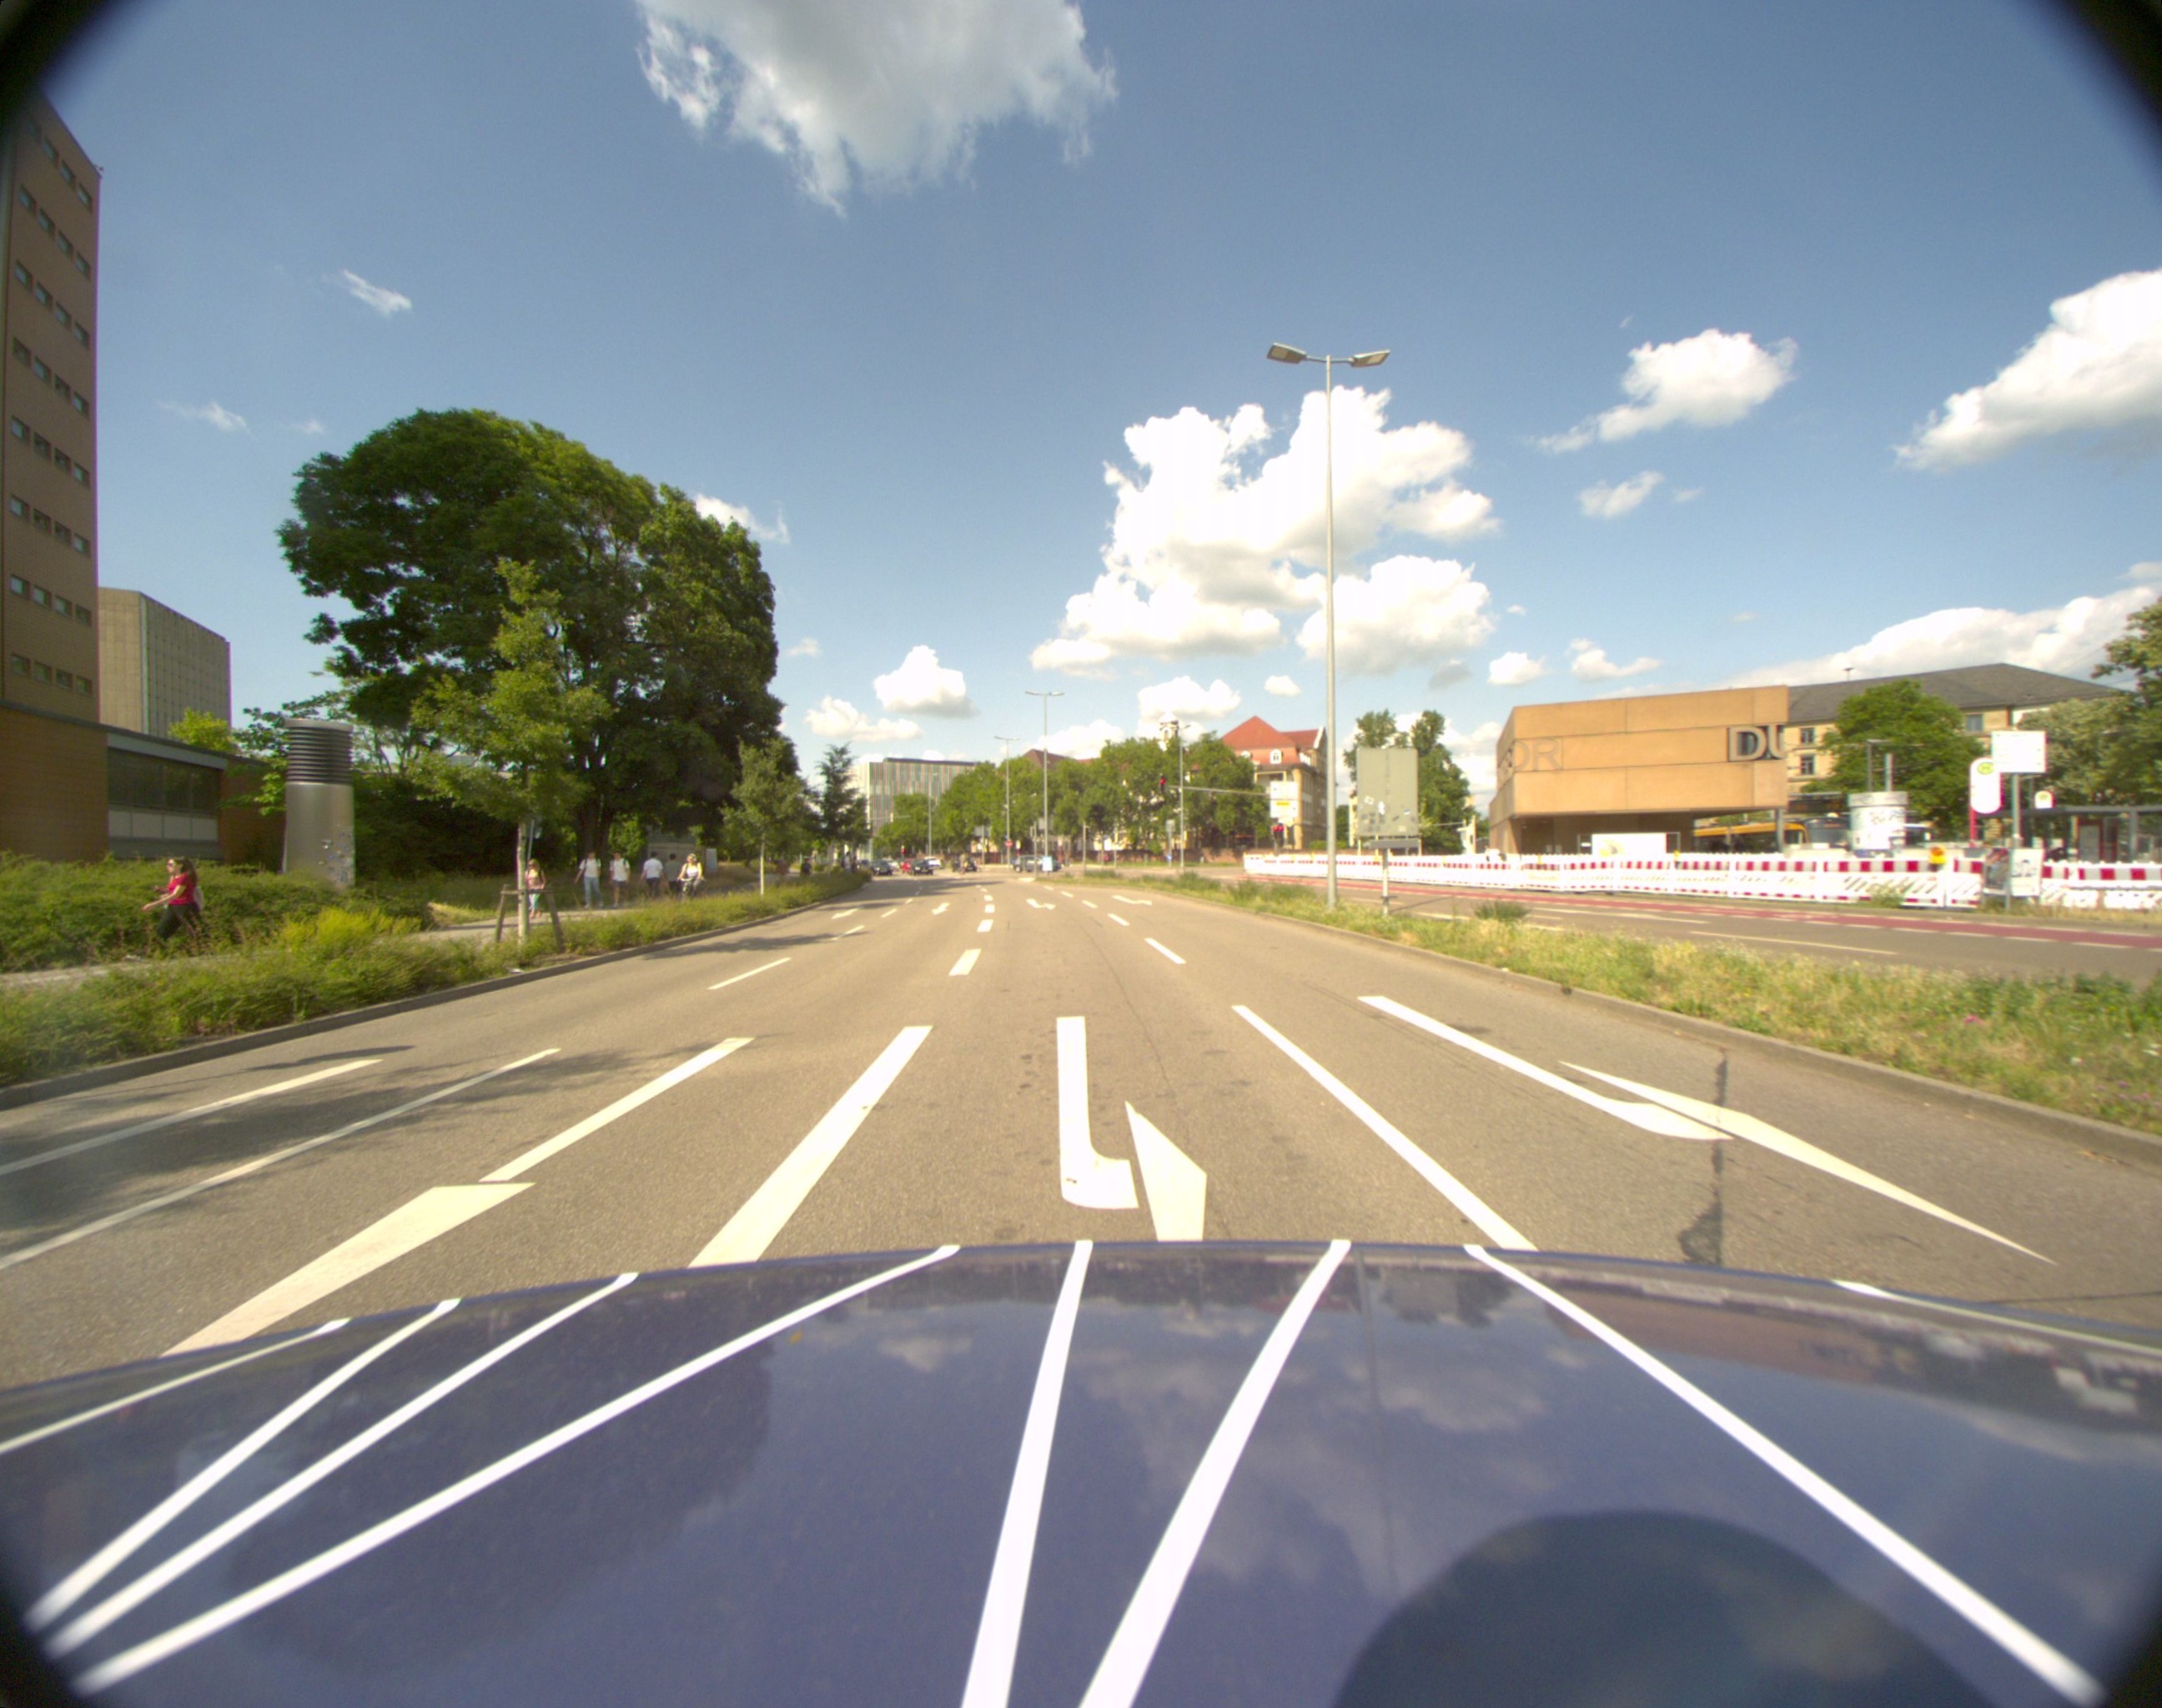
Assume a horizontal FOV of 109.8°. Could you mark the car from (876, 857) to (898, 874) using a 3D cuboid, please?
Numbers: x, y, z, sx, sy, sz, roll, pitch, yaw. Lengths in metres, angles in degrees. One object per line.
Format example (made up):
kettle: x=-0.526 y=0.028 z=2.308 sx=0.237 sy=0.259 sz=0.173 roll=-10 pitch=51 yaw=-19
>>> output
car: x=-17.838 y=1.034 z=70.109 sx=1.827 sy=1.454 sz=3.995 roll=-2 pitch=0 yaw=-13

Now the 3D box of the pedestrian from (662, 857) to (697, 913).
pedestrian: x=-12.926 y=0.990 z=24.478 sx=0.745 sy=1.744 sz=0.888 roll=1 pitch=1 yaw=-11

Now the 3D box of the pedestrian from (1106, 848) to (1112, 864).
pedestrian: x=3.054 y=0.185 z=83.420 sx=0.368 sy=1.722 sz=0.451 roll=-1 pitch=2 yaw=41

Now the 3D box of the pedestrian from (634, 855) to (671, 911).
pedestrian: x=-13.736 y=0.909 z=24.366 sx=0.745 sy=1.736 sz=0.888 roll=1 pitch=1 yaw=-11

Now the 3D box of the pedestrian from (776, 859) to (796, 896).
pedestrian: x=-14.478 y=1.143 z=37.287 sx=0.768 sy=1.725 sz=0.718 roll=-3 pitch=1 yaw=-14

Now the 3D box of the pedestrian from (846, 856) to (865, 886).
pedestrian: x=-13.459 y=1.023 z=45.356 sx=0.928 sy=1.725 sz=0.768 roll=-3 pitch=1 yaw=-8

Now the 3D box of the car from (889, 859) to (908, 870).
car: x=-20.966 y=1.171 z=87.110 sx=1.911 sy=1.127 sz=4.096 roll=-2 pitch=1 yaw=-17

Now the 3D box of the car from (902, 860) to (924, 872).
car: x=-16.810 y=1.219 z=75.845 sx=1.600 sy=1.127 sz=3.622 roll=-1 pitch=0 yaw=-22

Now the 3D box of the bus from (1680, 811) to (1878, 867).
bus: x=48.670 y=-0.964 z=54.589 sx=3.468 sy=3.165 sz=23.818 roll=-1 pitch=0 yaw=25

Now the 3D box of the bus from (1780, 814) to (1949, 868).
bus: x=60.533 y=-0.892 z=59.698 sx=3.599 sy=3.610 sz=18.906 roll=-1 pitch=0 yaw=28

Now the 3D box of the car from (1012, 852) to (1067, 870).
car: x=-3.553 y=0.610 z=64.766 sx=4.258 sy=1.368 sz=2.004 roll=-2 pitch=1 yaw=32

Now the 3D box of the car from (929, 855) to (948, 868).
car: x=-16.617 y=0.840 z=88.502 sx=1.780 sy=1.346 sz=3.994 roll=-2 pitch=1 yaw=-15

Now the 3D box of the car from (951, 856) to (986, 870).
car: x=-10.933 y=0.867 z=73.651 sx=1.737 sy=1.327 sz=3.779 roll=-3 pitch=1 yaw=-37

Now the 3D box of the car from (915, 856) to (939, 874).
car: x=-13.604 y=0.941 z=66.904 sx=1.828 sy=1.454 sz=3.995 roll=-2 pitch=0 yaw=-15

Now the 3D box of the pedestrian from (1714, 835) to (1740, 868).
pedestrian: x=33.249 y=-0.130 z=39.110 sx=0.653 sy=1.622 sz=0.765 roll=-1 pitch=1 yaw=-16

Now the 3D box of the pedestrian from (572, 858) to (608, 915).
pedestrian: x=-14.935 y=0.979 z=23.120 sx=0.616 sy=1.690 sz=0.888 roll=1 pitch=1 yaw=-11

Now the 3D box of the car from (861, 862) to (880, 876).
car: x=-23.188 y=1.656 z=83.708 sx=1.828 sy=1.454 sz=3.995 roll=-2 pitch=0 yaw=-14

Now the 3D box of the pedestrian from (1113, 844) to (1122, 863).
pedestrian: x=3.924 y=-0.032 z=81.891 sx=0.582 sy=1.982 sz=0.621 roll=-3 pitch=2 yaw=-33

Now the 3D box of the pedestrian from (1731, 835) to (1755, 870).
pedestrian: x=31.415 y=-0.060 z=36.064 sx=0.731 sy=1.620 sz=0.560 roll=-1 pitch=1 yaw=23

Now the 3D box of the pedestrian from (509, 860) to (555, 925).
pedestrian: x=-14.169 y=0.978 z=19.620 sx=0.616 sy=1.613 sz=0.888 roll=1 pitch=1 yaw=-11

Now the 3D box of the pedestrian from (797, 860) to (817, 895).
pedestrian: x=-13.713 y=1.164 z=38.001 sx=0.768 sy=1.725 sz=0.718 roll=-3 pitch=1 yaw=-14

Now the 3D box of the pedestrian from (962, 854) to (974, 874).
pedestrian: x=-9.586 y=0.856 z=64.468 sx=0.739 sy=1.704 sz=0.874 roll=-3 pitch=2 yaw=-28

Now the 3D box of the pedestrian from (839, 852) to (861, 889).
pedestrian: x=-13.027 y=0.931 z=42.803 sx=0.965 sy=2.002 sz=0.768 roll=-3 pitch=1 yaw=-8

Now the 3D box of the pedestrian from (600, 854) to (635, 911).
pedestrian: x=-14.248 y=0.874 z=23.386 sx=0.616 sy=1.690 sz=0.888 roll=1 pitch=1 yaw=-11

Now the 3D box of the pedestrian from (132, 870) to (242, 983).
pedestrian: x=-13.524 y=1.063 z=11.518 sx=0.615 sy=1.613 sz=0.890 roll=2 pitch=1 yaw=10
